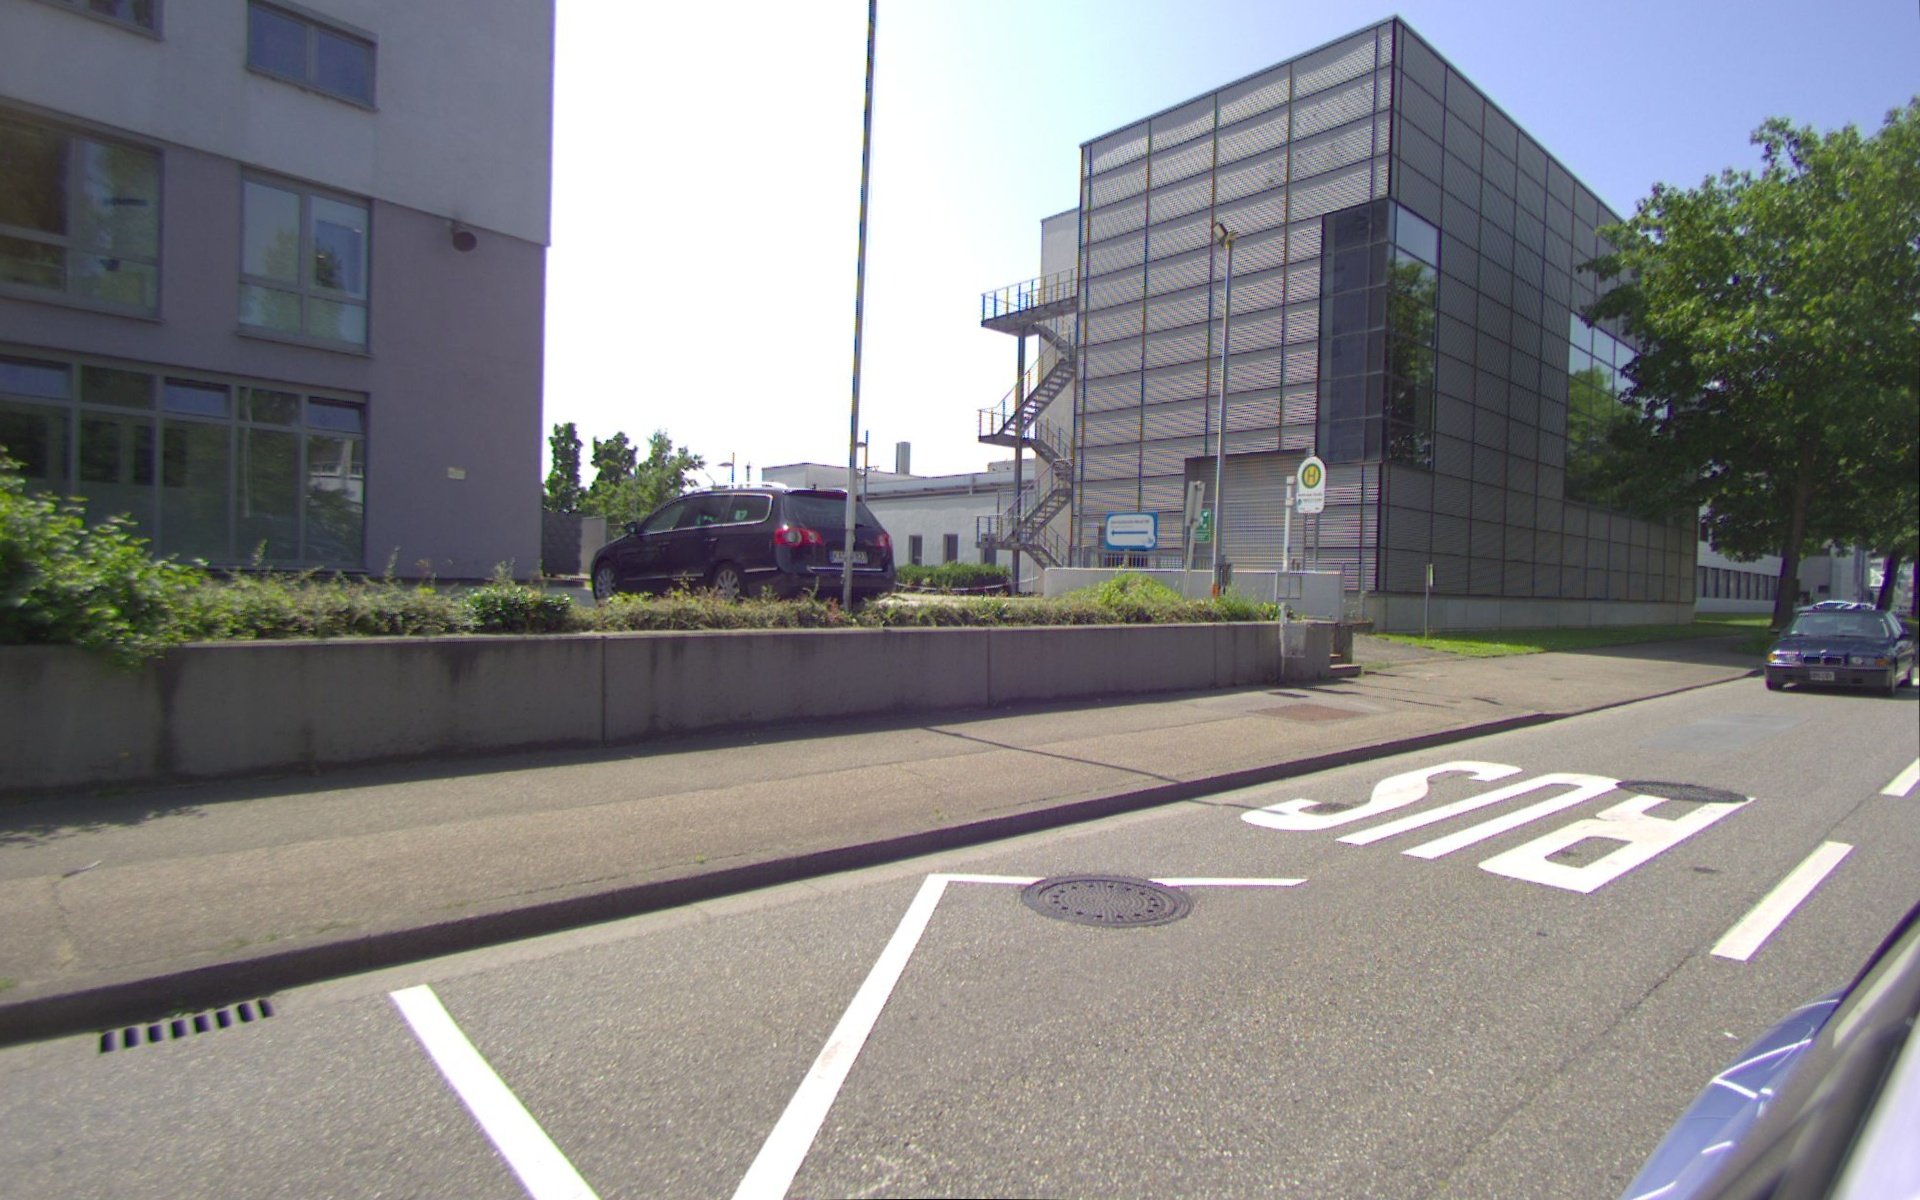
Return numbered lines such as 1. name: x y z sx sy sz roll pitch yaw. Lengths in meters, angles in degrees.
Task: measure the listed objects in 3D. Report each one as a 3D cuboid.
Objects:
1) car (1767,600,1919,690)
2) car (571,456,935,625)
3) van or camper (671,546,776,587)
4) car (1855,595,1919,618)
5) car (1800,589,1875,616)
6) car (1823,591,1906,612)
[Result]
1. car: 15.302 0.722 17.270 3.688 1.356 1.632 1 0 -39
2. car: -2.580 -0.678 11.871 4.501 1.602 1.969 4 3 44
3. van or camper: -11.267 -1.605 48.387 4.459 1.816 1.997 0 3 -42
4. car: 80.250 0.547 87.400 1.968 1.710 4.262 0 3 -45
5. car: 61.959 0.175 71.484 1.704 1.611 3.816 1 4 -45
6. car: 68.334 0.074 76.512 4.614 1.407 1.969 3 2 44
